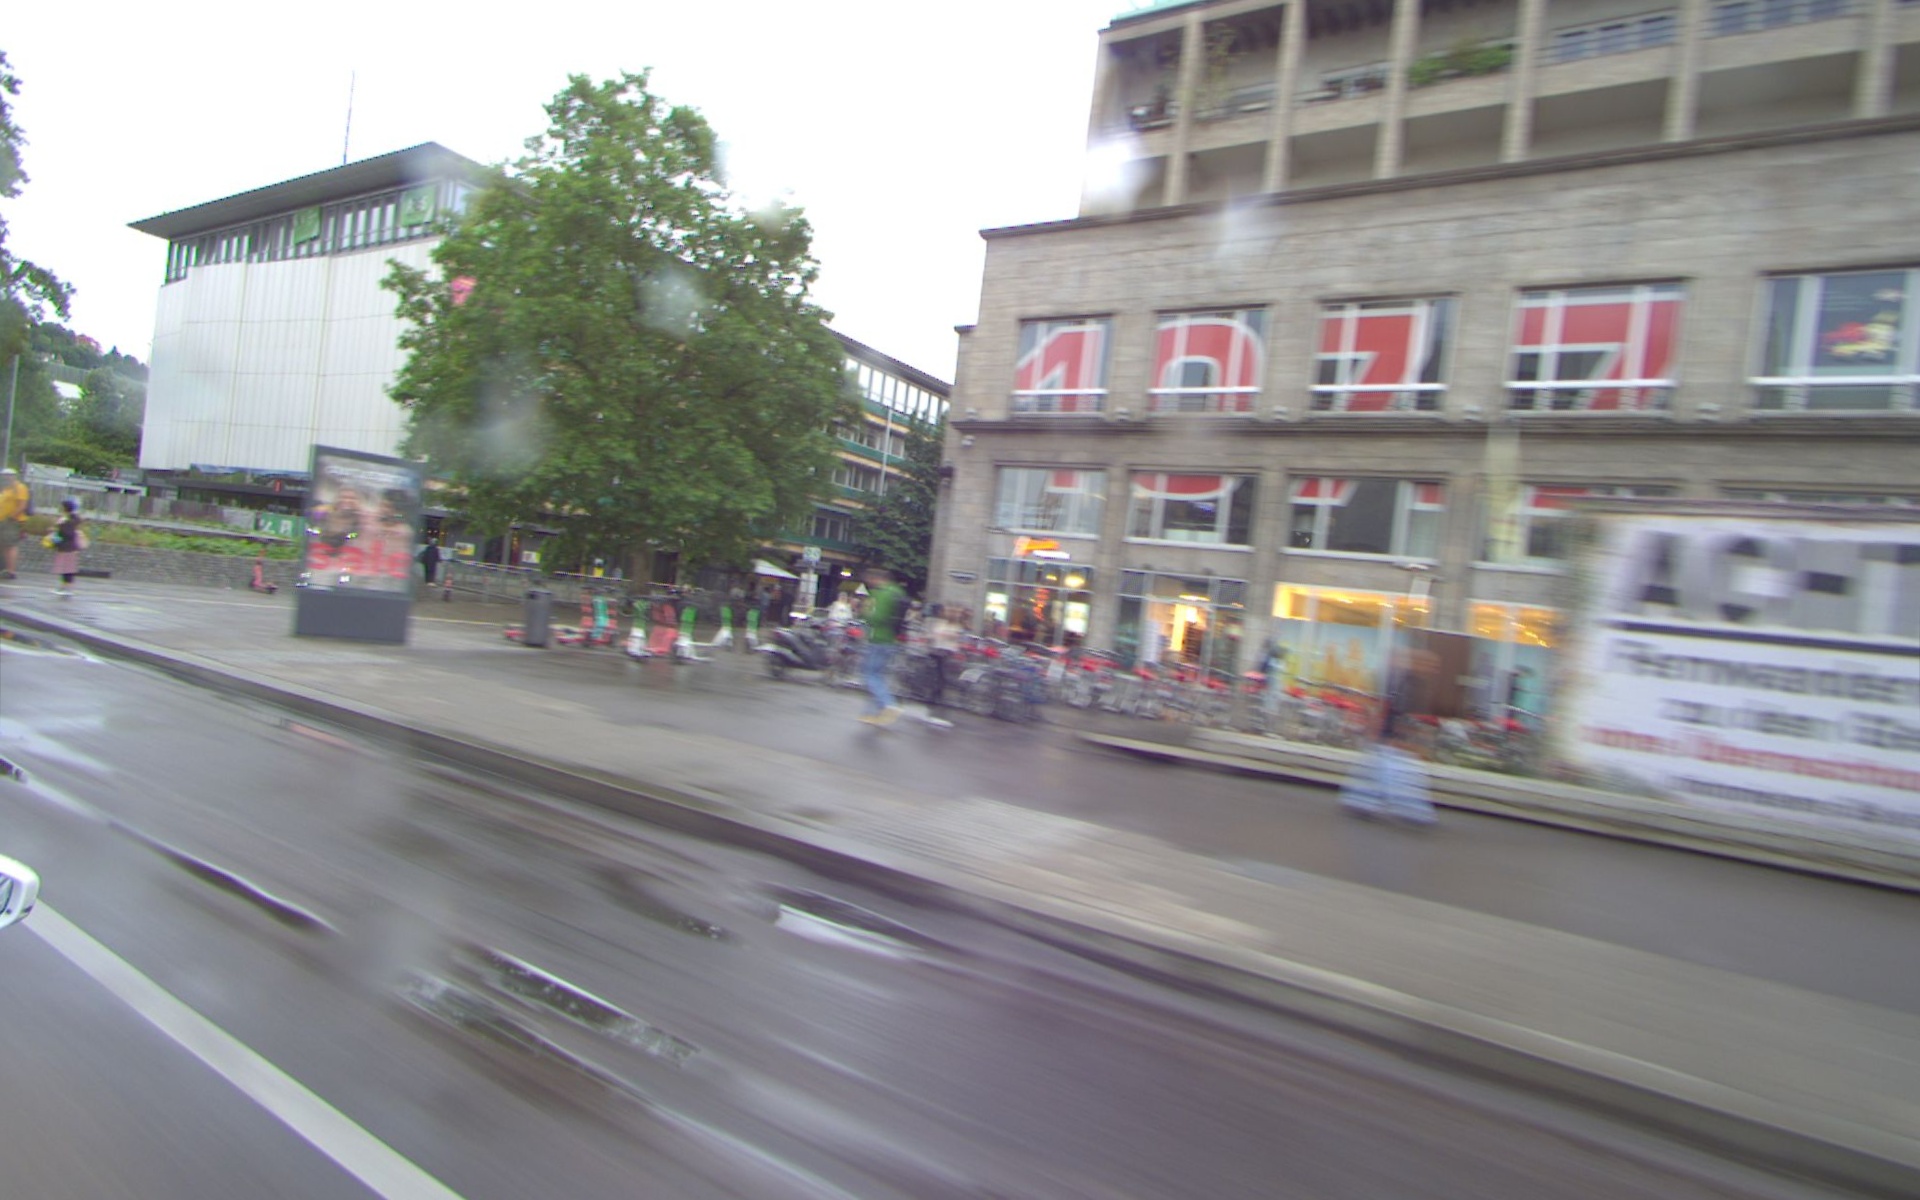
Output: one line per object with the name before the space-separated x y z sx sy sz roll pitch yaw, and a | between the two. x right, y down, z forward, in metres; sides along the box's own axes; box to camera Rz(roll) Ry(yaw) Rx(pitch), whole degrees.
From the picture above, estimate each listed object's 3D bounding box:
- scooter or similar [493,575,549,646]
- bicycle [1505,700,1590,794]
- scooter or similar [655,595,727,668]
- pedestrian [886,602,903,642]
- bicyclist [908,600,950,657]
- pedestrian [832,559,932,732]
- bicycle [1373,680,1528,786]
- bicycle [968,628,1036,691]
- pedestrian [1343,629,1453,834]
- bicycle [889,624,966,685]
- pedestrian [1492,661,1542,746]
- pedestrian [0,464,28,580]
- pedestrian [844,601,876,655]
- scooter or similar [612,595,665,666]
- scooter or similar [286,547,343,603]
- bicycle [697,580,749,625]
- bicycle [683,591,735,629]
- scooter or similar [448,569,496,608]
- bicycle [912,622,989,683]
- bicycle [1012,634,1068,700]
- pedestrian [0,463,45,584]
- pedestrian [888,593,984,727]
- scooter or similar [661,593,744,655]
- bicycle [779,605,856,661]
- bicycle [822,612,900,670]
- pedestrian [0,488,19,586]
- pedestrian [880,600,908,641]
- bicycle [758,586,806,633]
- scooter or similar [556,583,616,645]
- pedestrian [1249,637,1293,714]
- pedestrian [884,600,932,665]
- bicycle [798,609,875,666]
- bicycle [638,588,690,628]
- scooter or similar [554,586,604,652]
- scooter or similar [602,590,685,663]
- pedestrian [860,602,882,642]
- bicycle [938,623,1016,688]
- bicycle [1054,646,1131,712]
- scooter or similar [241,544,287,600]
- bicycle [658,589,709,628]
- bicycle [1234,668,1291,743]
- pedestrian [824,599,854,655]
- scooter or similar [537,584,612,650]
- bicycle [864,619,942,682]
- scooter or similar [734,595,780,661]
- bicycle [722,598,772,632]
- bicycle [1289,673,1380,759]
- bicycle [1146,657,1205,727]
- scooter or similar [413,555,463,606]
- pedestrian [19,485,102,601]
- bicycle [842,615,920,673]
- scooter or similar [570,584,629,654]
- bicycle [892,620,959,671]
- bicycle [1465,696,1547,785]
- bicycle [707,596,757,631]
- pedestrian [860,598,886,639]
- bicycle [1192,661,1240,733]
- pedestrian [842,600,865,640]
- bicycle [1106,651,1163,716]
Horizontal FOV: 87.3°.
scooter or similar | -8.476 0.202 19.412 1.081 1.251 0.324 6 -1 33
bicycle | 8.961 2.196 15.306 0.609 1.253 1.985 7 1 42
scooter or similar | -5.129 0.623 19.269 0.581 1.271 1.308 6 -1 18
pedestrian | -2.832 0.950 43.418 0.434 1.658 0.460 6 -1 13
bicyclist | -0.907 0.828 29.717 0.895 1.574 0.648 6 0 44
pedestrian | -0.934 0.543 12.123 0.774 1.956 0.708 6 0 23
bicycle | 7.476 1.999 15.464 0.609 1.253 2.176 5 1 -23
bicycle | 0.908 1.273 21.476 0.608 1.241 1.616 6 1 33
pedestrian | 3.755 1.112 8.620 0.649 1.638 0.495 6 0 -43
bicycle | -0.710 1.239 22.713 0.608 1.253 1.990 6 1 33
pedestrian | 11.948 2.216 21.587 0.763 1.716 0.723 6 -1 31
pedestrian | -18.534 -1.518 19.370 0.706 2.172 0.712 6 1 -45
pedestrian | -3.045 0.853 30.457 0.662 1.542 0.779 6 0 -19
scooter or similar | -5.726 0.525 17.870 0.434 1.142 1.355 10 -3 -32
scooter or similar | -16.262 -0.628 25.340 1.292 1.273 0.374 6 -1 20
bicycle | -9.545 0.090 40.479 2.100 1.581 0.792 6 0 40
bicycle | -8.782 0.353 35.144 1.995 1.116 0.615 6 1 40
scooter or similar | -15.099 -0.345 31.122 1.292 1.048 0.477 6 1 20
bicycle | -0.191 1.169 22.290 0.608 1.253 1.990 6 1 33
bicycle | 1.710 1.372 21.175 0.606 1.253 1.995 6 1 18
pedestrian | -17.709 -1.428 18.759 0.655 2.172 0.556 6 0 18
pedestrian | -0.321 0.790 13.308 0.783 1.661 0.779 6 0 -43
scooter or similar | -6.206 0.585 24.294 1.718 1.275 0.622 7 -1 5
bicycle | -3.459 0.819 24.592 0.608 1.253 1.990 6 1 33
bicycle | -2.312 0.982 23.748 0.608 1.253 1.990 6 1 33
pedestrian | -17.416 -1.170 17.768 0.746 1.712 0.876 7 0 32
pedestrian | -3.228 0.994 49.231 0.822 1.885 0.820 6 -1 33
bicycle | -7.097 0.372 40.038 1.967 1.653 0.615 6 0 40
scooter or similar | -8.302 0.307 22.321 1.085 1.231 0.473 8 -1 -28
pedestrian | 7.243 1.759 23.433 0.696 1.710 0.597 6 0 32
pedestrian | -1.459 0.911 28.367 0.790 1.694 0.878 8 -2 -42
bicycle | -2.938 0.921 24.166 0.608 1.253 1.990 6 1 33
bicycle | -9.947 0.252 33.728 1.967 1.133 0.615 6 1 40
scooter or similar | -7.570 0.376 19.975 0.941 1.221 0.305 6 -1 33
scooter or similar | -6.111 0.514 19.480 1.348 1.245 0.568 7 -1 -14
pedestrian | -3.919 0.978 44.476 0.699 1.687 0.771 7 -1 3
bicycle | 0.397 1.202 21.826 0.608 1.282 1.990 6 1 33
bicycle | 2.746 1.555 20.493 0.863 1.123 2.885 6 0 20
scooter or similar | -16.820 -0.687 24.298 1.139 1.231 0.352 6 -2 31
bicycle | -9.503 0.278 34.547 1.995 1.116 0.615 6 1 40
bicycle | 5.400 1.859 18.040 0.675 1.123 1.736 6 1 10
pedestrian | -3.611 0.800 29.980 0.637 1.622 0.614 5 1 -19
scooter or similar | -8.280 0.371 21.624 1.350 1.264 0.435 8 -2 -28
bicycle | -1.284 1.165 23.085 0.608 1.352 1.990 6 1 33
scooter or similar | -4.791 0.641 23.705 0.615 1.444 1.702 7 -2 -21
bicycle | -7.786 0.533 36.717 1.967 1.039 0.615 6 1 40
bicycle | 6.363 1.947 17.235 0.873 1.154 2.090 6 1 6
bicycle | 4.106 1.708 19.094 0.810 1.123 1.982 6 1 18
scooter or similar | -15.505 -0.588 29.866 1.292 1.347 0.410 6 -1 20
pedestrian | -15.081 -0.949 16.871 0.743 1.827 0.541 6 0 4
bicycle | -1.809 1.040 23.411 0.608 1.253 1.990 6 1 33
scooter or similar | -7.325 0.372 20.409 1.154 1.296 0.369 6 -1 33
bicycle | -1.040 1.346 29.804 1.987 1.270 0.658 6 0 44
bicycle | 8.762 2.204 16.114 0.609 1.253 1.985 7 1 42
bicycle | -8.204 0.469 36.099 1.967 1.069 0.615 6 1 40
pedestrian | -4.594 1.002 53.228 0.835 2.037 0.987 6 -1 16
bicycle | 4.708 1.749 18.420 0.661 1.123 1.695 6 1 17
pedestrian | -4.673 0.877 44.302 0.699 1.687 0.771 7 -1 3
bicycle | 3.459 1.635 19.791 0.728 1.122 2.235 6 -2 17
